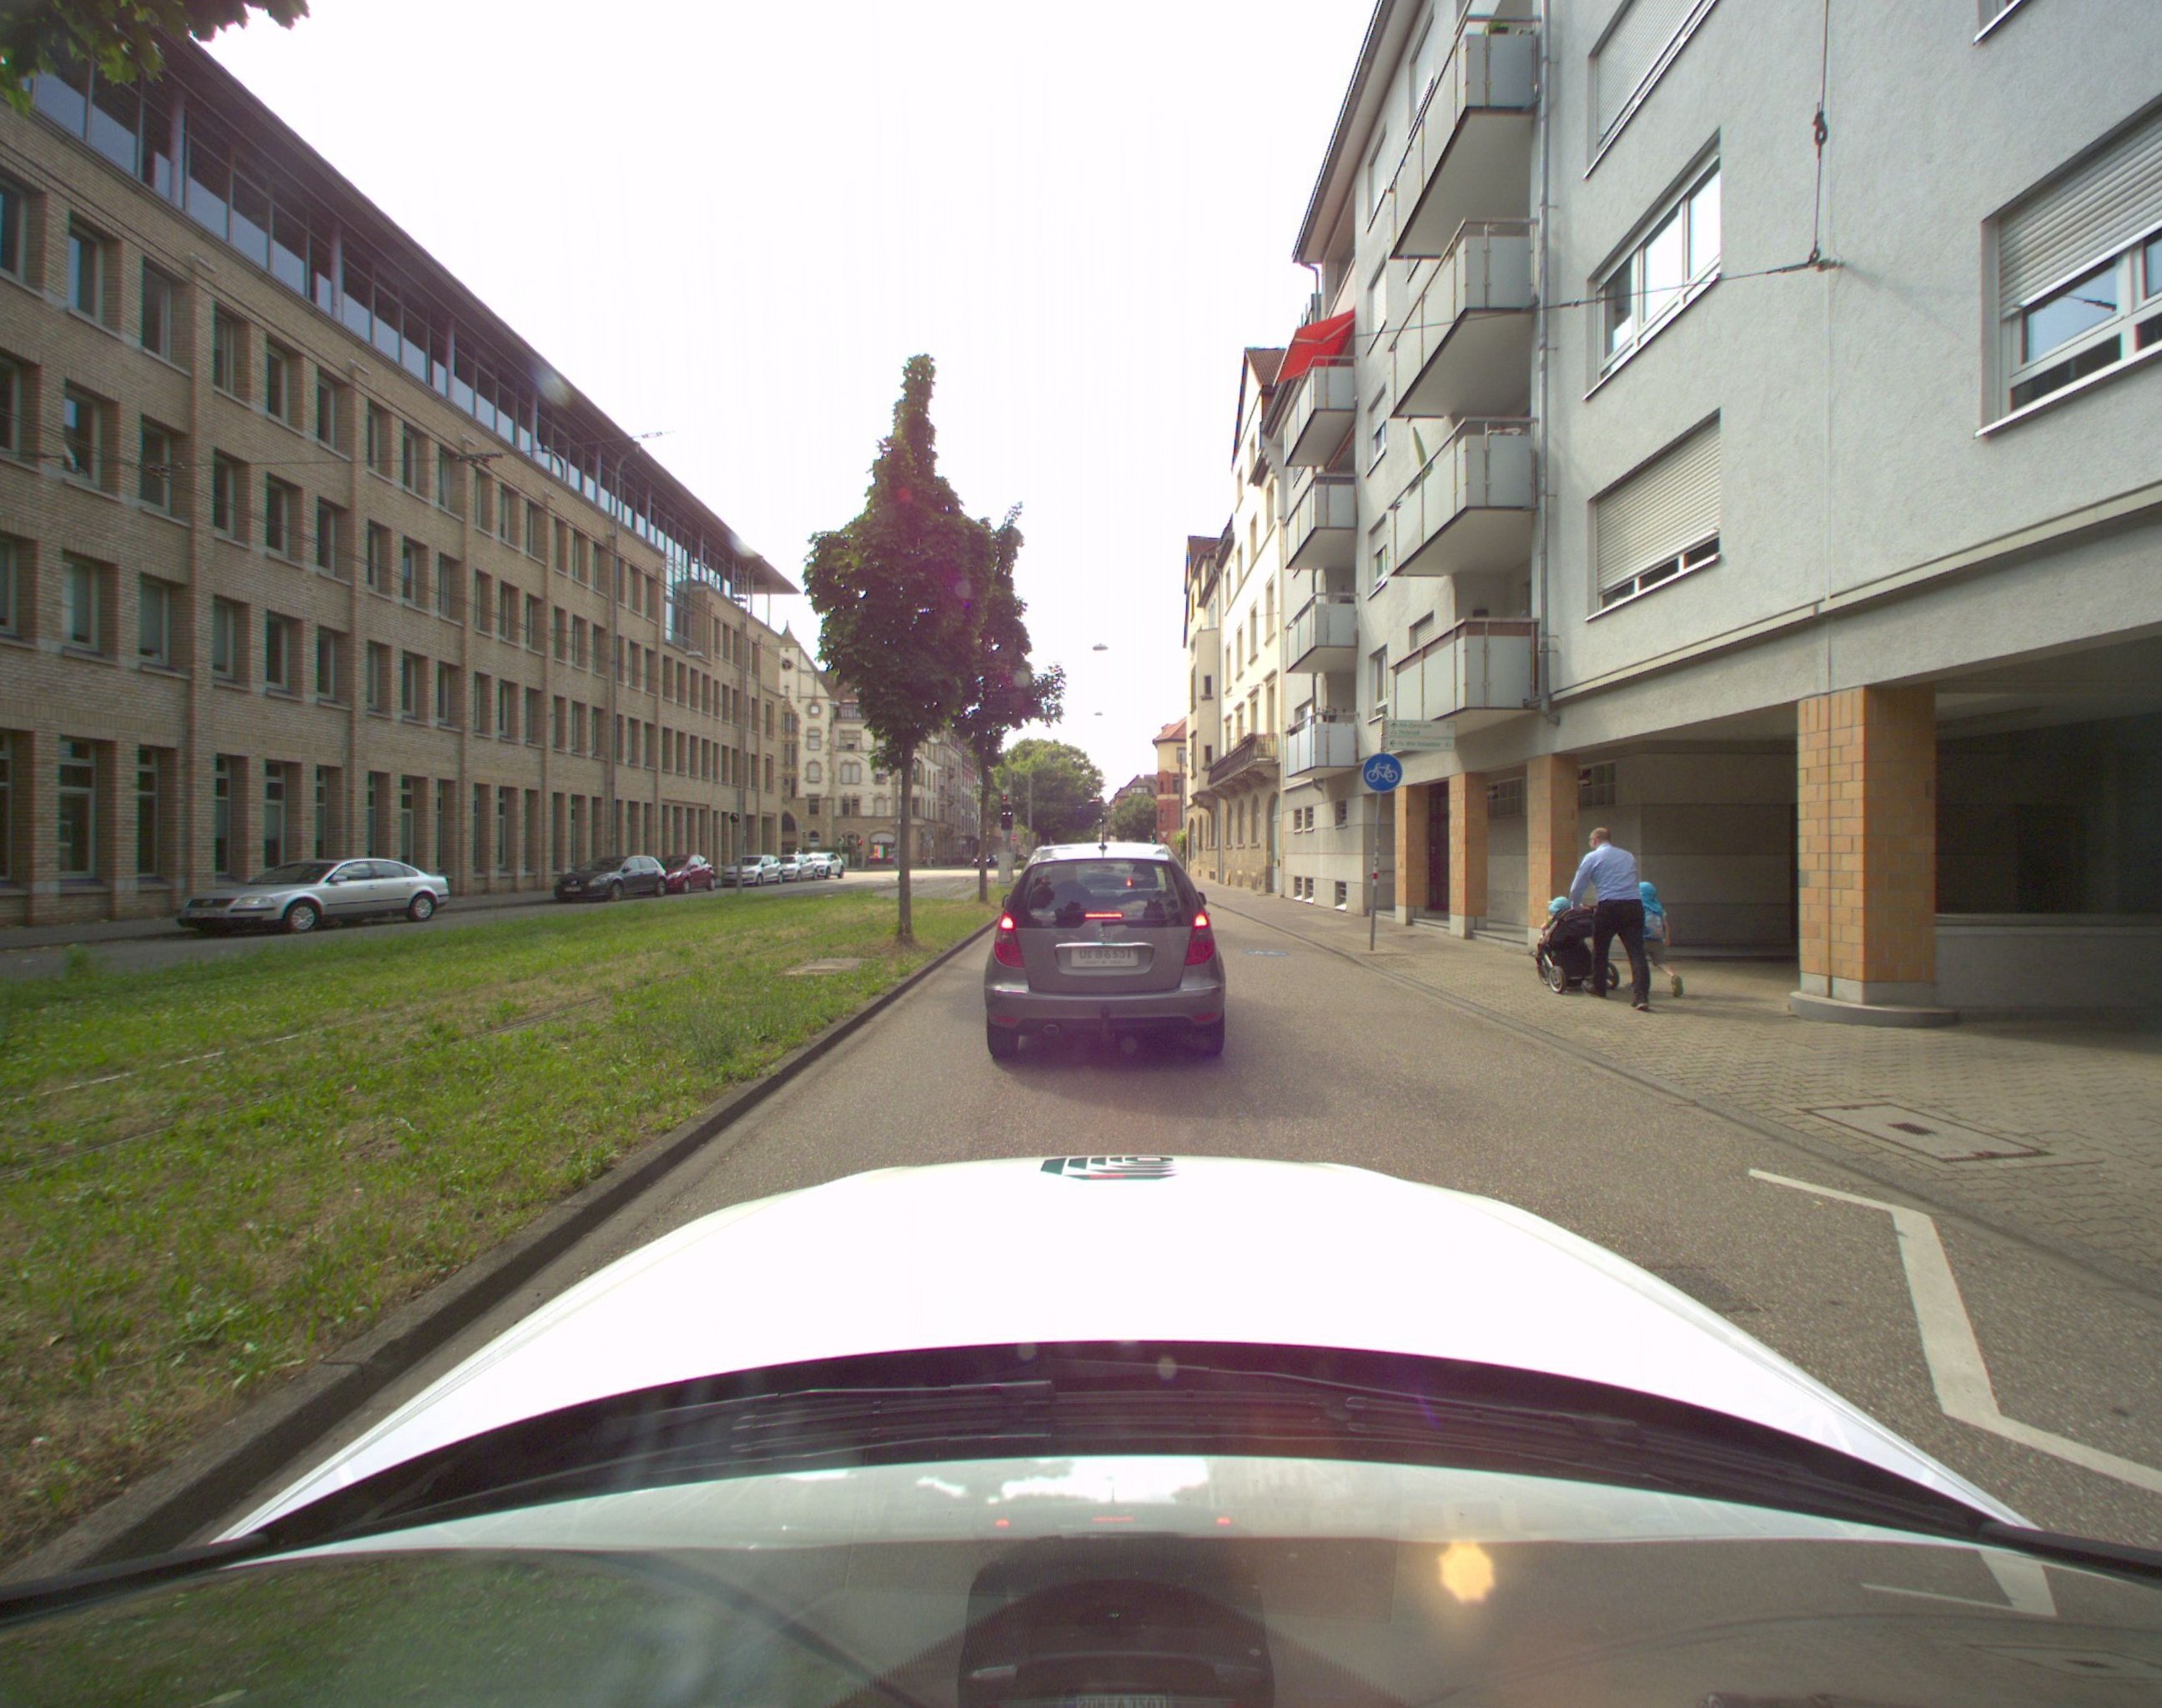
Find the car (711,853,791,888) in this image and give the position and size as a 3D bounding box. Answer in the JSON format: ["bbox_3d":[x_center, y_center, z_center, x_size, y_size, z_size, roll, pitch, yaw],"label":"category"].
[{"bbox_3d":[-15.258,0.714,37.906,1.844,1.530,4.212,0,0,2],"label":"car"}]

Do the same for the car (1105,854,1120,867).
[{"bbox_3d":[4.005,0.882,104.158,1.744,1.633,3.504,0,0,5],"label":"car"}]

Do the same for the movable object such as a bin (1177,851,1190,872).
[{"bbox_3d":[7.525,0.545,59.615,0.714,1.472,0.980,-1,0,-8],"label":"movable object such as a bin"}]

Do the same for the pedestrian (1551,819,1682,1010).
[{"bbox_3d":[5.229,0.562,8.013,0.618,1.738,0.877,-4,0,2],"label":"pedestrian"}]

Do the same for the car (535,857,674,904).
[{"bbox_3d":[-15.389,0.804,26.588,1.925,1.396,4.241,0,0,2],"label":"car"}]

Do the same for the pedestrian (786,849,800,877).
[{"bbox_3d":[-18.672,0.601,52.744,0.763,1.795,0.952,0,0,-24],"label":"pedestrian"}]

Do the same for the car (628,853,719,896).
[{"bbox_3d":[-15.506,0.734,31.178,1.577,1.530,3.551,0,0,2],"label":"car"}]

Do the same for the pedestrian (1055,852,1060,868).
[{"bbox_3d":[-2.646,0.682,91.940,0.493,1.725,0.652,0,0,-10],"label":"pedestrian"}]

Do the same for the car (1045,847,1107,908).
[{"bbox_3d":[-0.086,0.685,24.971,1.716,1.706,3.678,-1,0,2],"label":"car"}]

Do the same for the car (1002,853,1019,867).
[{"bbox_3d":[-8.422,0.710,97.713,1.990,1.728,3.994,-1,0,-4],"label":"car"}]

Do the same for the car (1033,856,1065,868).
[{"bbox_3d":[-3.900,0.953,98.952,1.984,1.339,3.954,0,0,-38],"label":"car"}]

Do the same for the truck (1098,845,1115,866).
[{"bbox_3d":[3.703,0.263,117.144,2.113,2.970,4.005,-1,0,5],"label":"truck"}]

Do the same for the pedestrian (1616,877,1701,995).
[{"bbox_3d":[5.898,0.821,8.337,0.454,1.135,0.494,-4,0,1],"label":"pedestrian"}]

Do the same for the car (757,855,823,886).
[{"bbox_3d":[-15.313,0.827,43.129,1.925,1.530,4.016,0,0,2],"label":"car"}]

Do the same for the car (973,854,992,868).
[{"bbox_3d":[-11.600,0.781,96.249,1.990,1.618,3.994,-1,0,-4],"label":"car"}]

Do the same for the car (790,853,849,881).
[{"bbox_3d":[-15.213,0.732,47.565,1.925,1.535,4.260,0,0,2],"label":"car"}]

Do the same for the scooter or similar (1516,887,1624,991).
[{"bbox_3d":[5.323,0.906,8.912,0.590,1.002,0.906,-4,0,2],"label":"scooter or similar"}]

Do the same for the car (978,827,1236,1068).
[{"bbox_3d":[0.232,0.639,7.332,1.716,1.605,3.678,-1,0,2],"label":"car"}]

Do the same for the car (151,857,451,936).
[{"bbox_3d":[-15.538,0.759,16.656,1.708,1.396,4.487,0,0,2],"label":"car"}]
